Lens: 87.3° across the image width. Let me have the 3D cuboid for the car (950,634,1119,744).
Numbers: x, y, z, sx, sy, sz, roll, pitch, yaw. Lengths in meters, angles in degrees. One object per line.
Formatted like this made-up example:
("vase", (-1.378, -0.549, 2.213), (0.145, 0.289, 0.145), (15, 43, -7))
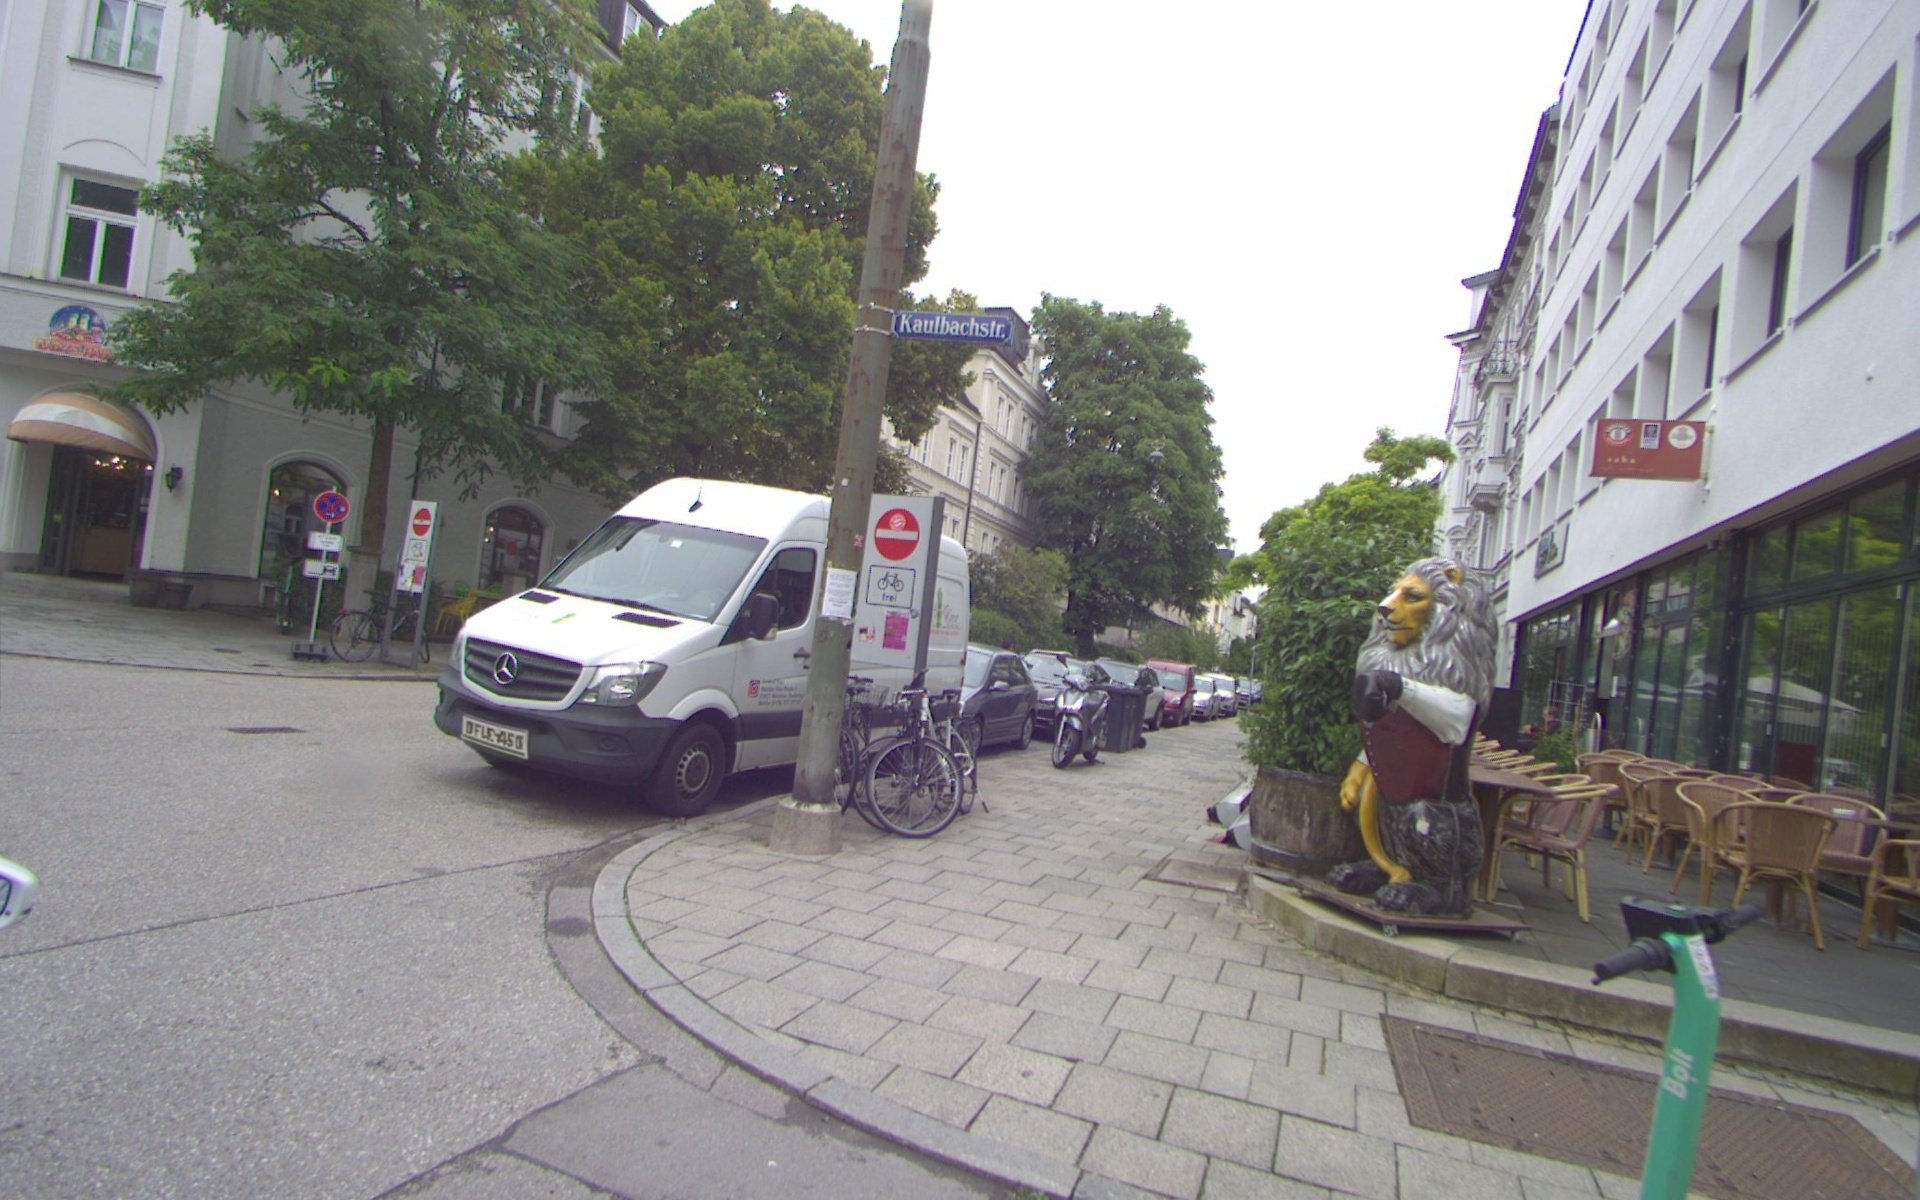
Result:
("car", (1.538, 1.666, 18.959), (1.778, 1.586, 4.255), (8, -2, 22))

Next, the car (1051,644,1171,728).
("car", (3.730, 2.075, 24.257), (1.831, 1.625, 4.002), (7, -2, 22))

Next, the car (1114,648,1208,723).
("car", (5.886, 2.456, 29.094), (1.899, 1.762, 4.003), (7, -2, 20))

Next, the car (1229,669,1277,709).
("car", (15.844, 4.794, 54.286), (1.963, 1.836, 4.003), (7, -2, 22))

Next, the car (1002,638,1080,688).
("car", (3.144, 2.454, 38.309), (1.778, 1.635, 4.003), (4, -3, 22))

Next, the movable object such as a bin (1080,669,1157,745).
("movable object such as a bin", (2.740, 1.829, 17.303), (0.990, 1.123, 1.098), (7, -2, 20))

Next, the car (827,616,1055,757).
("car", (-0.094, 1.222, 14.439), (1.762, 1.464, 4.003), (9, -1, 21))

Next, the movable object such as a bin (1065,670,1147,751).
("movable object such as a bin", (2.372, 1.765, 16.241), (0.990, 1.123, 1.098), (7, -2, 20))

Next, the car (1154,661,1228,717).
("car", (8.046, 3.068, 34.790), (1.831, 1.610, 4.003), (7, -2, 20))

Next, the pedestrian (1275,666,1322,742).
("pedestrian", (8.269, 2.547, 24.543), (0.715, 1.735, 0.686), (6, -1, 39))

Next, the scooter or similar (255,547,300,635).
("scooter or similar", (-10.975, -0.168, 16.202), (0.425, 1.294, 1.267), (8, 0, -33))

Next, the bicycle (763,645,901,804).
("bicycle", (-0.960, 0.939, 7.891), (0.363, 1.084, 1.509), (7, -2, 17))

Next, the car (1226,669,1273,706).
("car", (15.760, 4.746, 54.628), (1.963, 1.703, 4.485), (7, -2, 21))

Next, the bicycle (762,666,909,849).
("bicycle", (-0.840, 1.070, 7.083), (0.334, 1.140, 1.182), (7, -2, 24))

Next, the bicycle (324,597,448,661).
("bicycle", (-8.364, 0.429, 14.695), (0.536, 0.792, 1.412), (6, -1, 40))

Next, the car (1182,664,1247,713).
("car", (10.287, 3.561, 40.485), (1.899, 1.610, 4.170), (7, -2, 21))

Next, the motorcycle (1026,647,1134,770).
("motorcycle", (1.617, 1.397, 13.176), (0.646, 1.401, 2.179), (7, -2, 24))

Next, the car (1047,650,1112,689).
("car", (5.290, 3.078, 44.137), (1.778, 1.454, 4.003), (4, -3, 22))

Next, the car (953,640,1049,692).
("car", (1.432, 2.221, 33.197), (1.779, 1.454, 4.059), (4, -3, 22))

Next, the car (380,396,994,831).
("car", (-1.827, 0.254, 9.363), (2.022, 2.621, 5.915), (8, -2, 23))

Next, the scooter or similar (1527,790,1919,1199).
("scooter or similar", (1.258, 0.999, 1.517), (0.410, 1.224, 1.358), (7, -2, 20))

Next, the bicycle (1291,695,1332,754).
("bicycle", (7.401, 2.598, 21.146), (0.464, 1.140, 1.414), (7, -2, 29))

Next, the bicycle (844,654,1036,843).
("bicycle", (-0.076, 1.041, 7.432), (0.581, 1.140, 1.908), (7, -2, 23))
